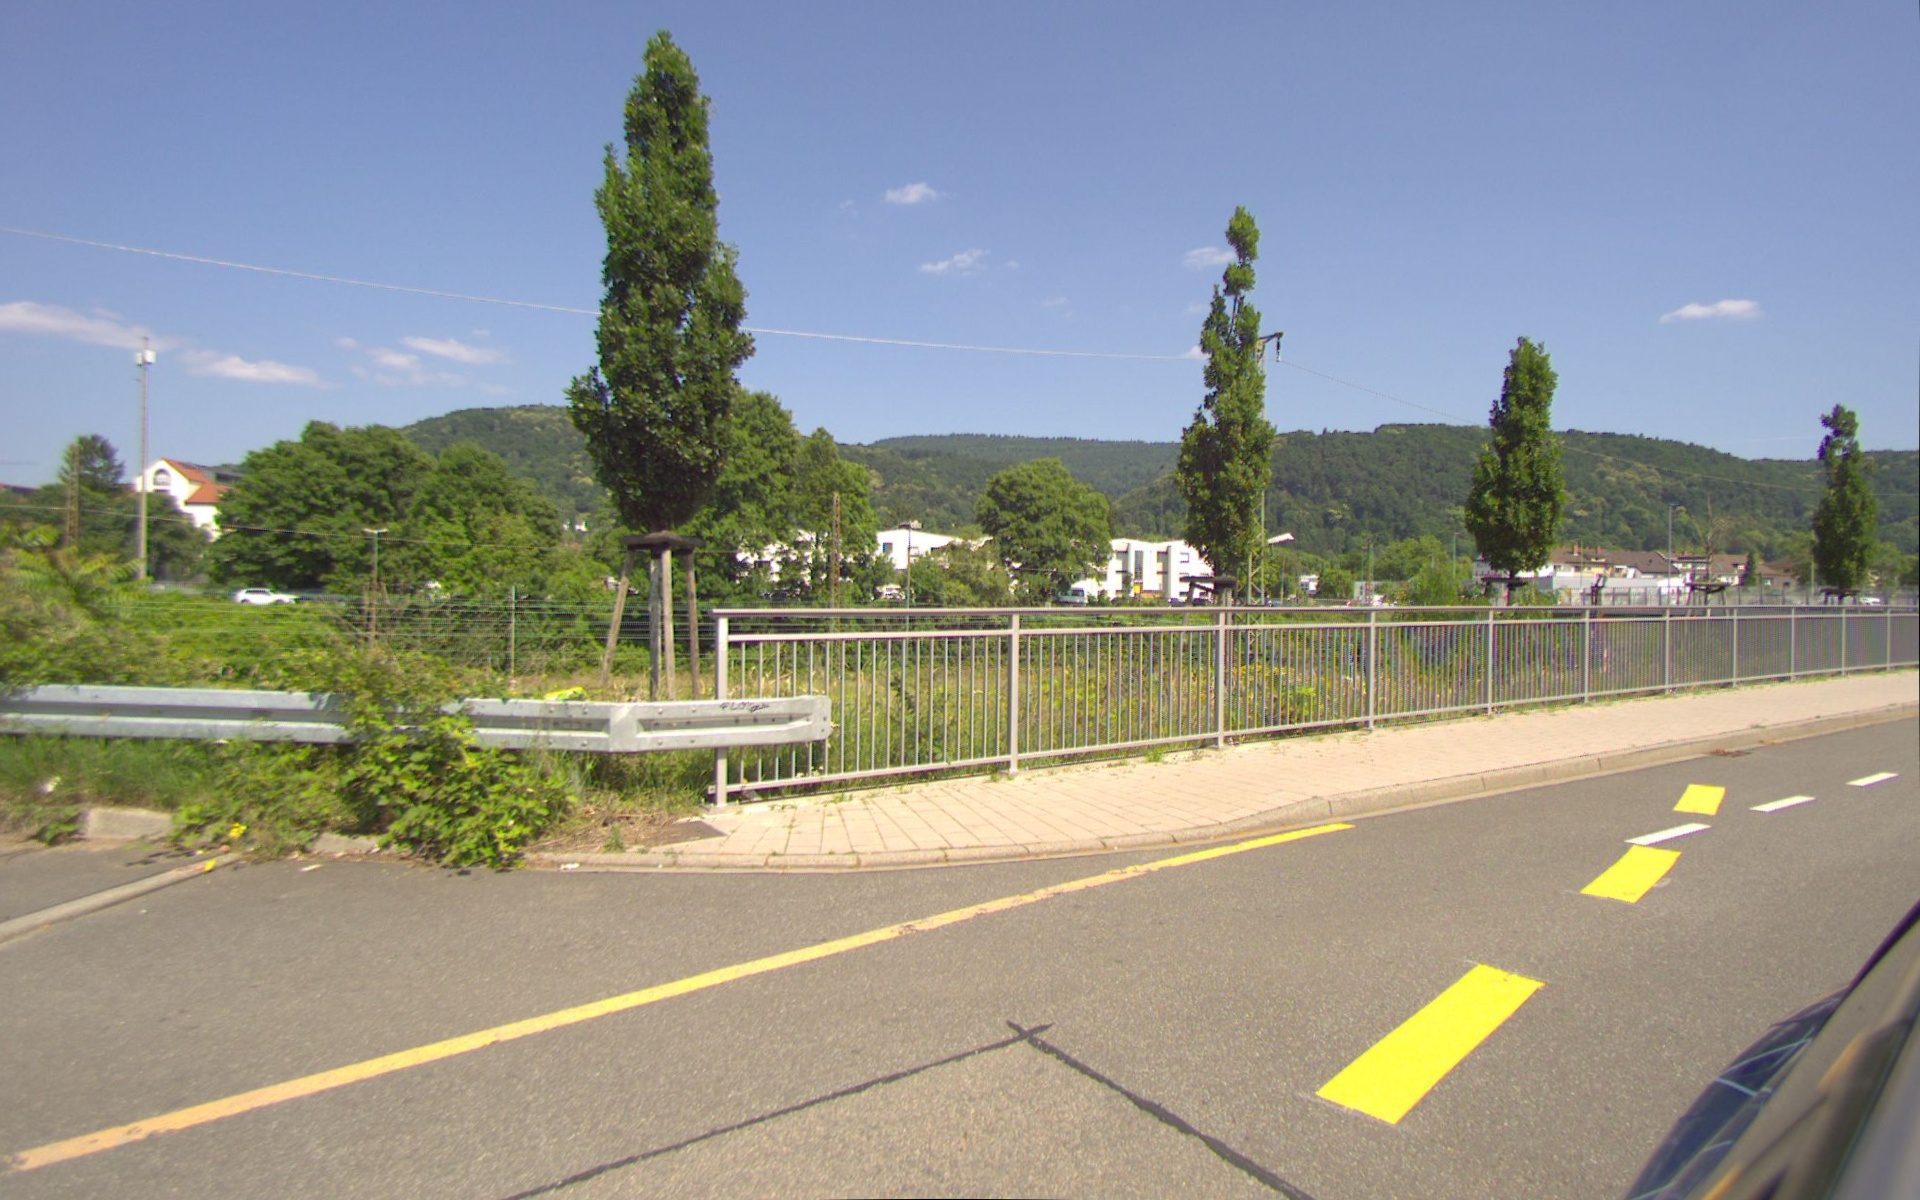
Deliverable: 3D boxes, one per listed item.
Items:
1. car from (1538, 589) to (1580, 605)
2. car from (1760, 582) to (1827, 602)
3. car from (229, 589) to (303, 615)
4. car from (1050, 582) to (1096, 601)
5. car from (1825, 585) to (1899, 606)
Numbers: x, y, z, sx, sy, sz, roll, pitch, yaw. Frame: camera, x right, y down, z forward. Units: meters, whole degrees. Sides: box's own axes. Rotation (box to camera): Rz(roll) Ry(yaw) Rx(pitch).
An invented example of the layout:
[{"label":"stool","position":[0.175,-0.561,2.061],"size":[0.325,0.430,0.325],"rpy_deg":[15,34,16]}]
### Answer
[{"label":"car","position":[69.306,-0.334,117.181],"size":[1.701,1.647,4.449],"rpy_deg":[3,-1,-11]},{"label":"car","position":[72.915,-0.709,88.616],"size":[1.700,1.647,4.450],"rpy_deg":[1,0,-12]},{"label":"car","position":[-58.340,0.198,85.212],"size":[4.888,2.139,2.003],"rpy_deg":[0,0,-27]},{"label":"car","position":[12.765,-0.930,114.165],"size":[4.887,2.139,2.004],"rpy_deg":[0,0,-25]},{"label":"car","position":[74.049,-0.409,83.150],"size":[1.701,1.647,4.449],"rpy_deg":[-1,0,-9]}]
